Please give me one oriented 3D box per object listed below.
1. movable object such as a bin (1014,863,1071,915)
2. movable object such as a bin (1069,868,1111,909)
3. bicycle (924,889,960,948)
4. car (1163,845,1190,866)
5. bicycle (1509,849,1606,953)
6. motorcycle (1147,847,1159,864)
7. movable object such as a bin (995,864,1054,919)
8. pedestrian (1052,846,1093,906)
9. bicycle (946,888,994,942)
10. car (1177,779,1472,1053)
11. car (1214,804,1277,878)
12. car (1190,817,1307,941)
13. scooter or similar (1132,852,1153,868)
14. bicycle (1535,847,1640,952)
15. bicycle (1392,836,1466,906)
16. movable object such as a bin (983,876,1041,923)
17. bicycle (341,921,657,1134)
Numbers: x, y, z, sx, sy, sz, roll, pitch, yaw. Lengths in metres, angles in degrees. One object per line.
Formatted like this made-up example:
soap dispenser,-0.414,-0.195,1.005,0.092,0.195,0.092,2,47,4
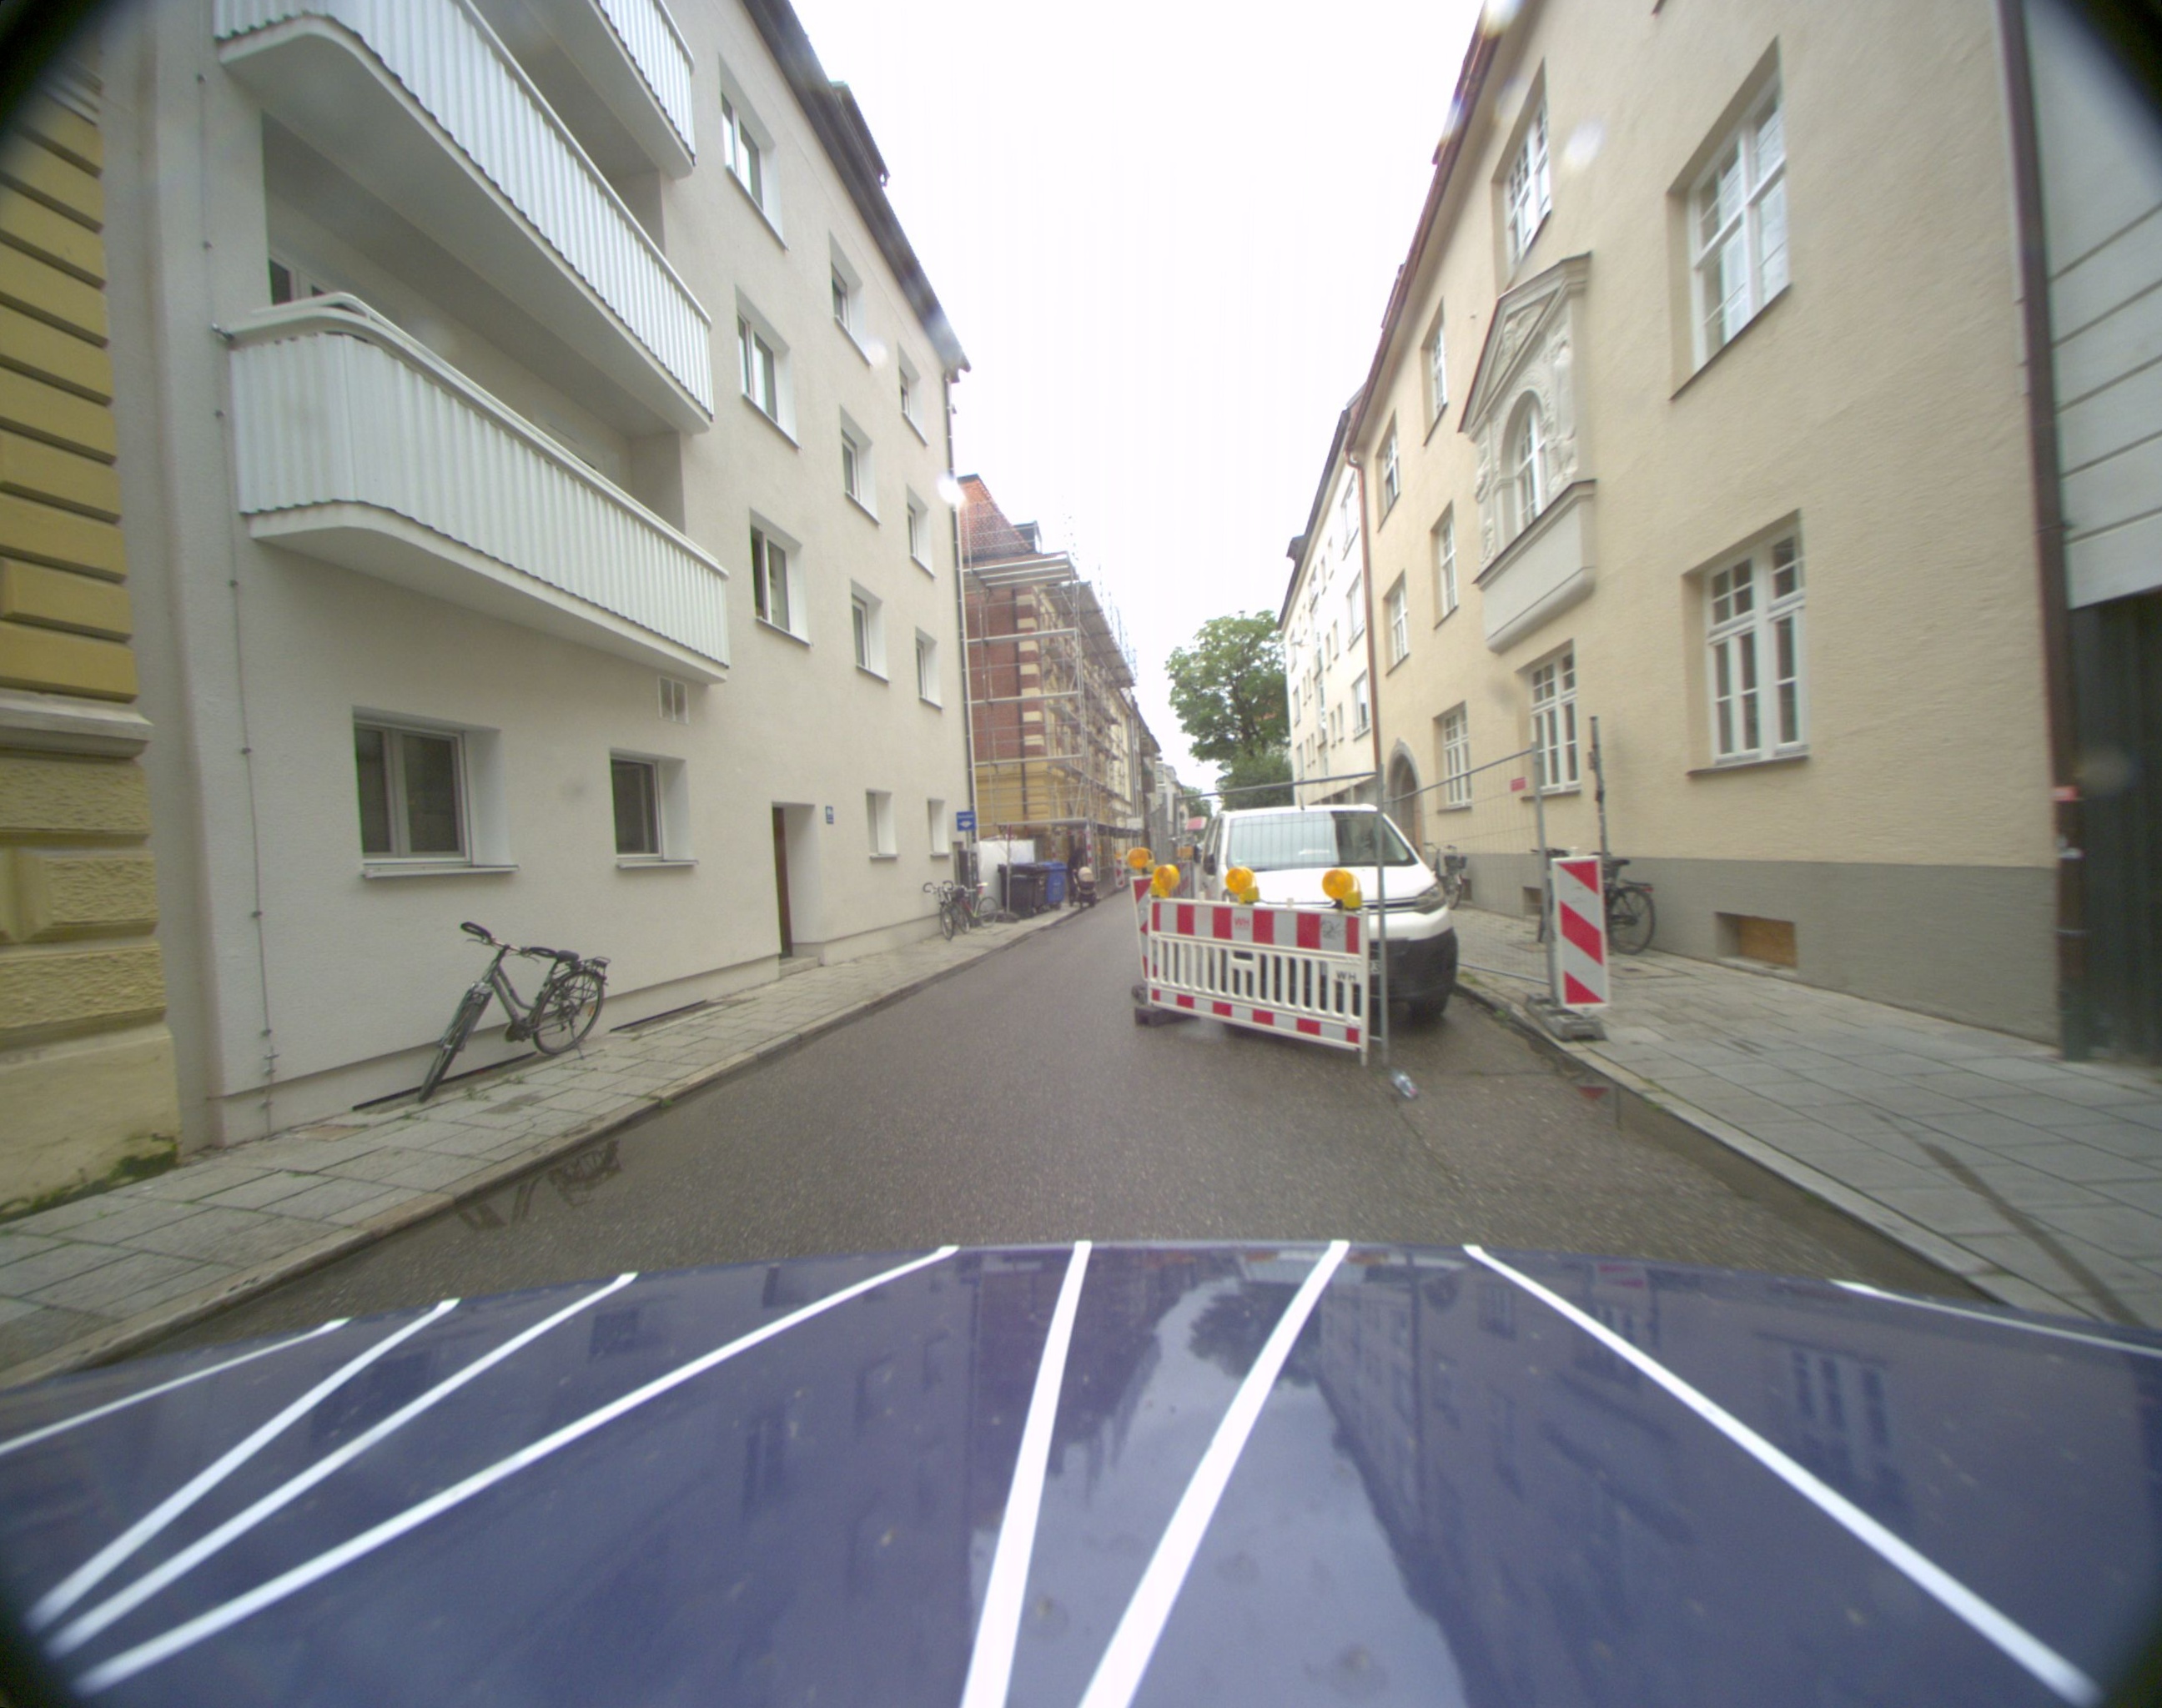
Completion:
movable object such as a bin,-1.047,0.933,20.848,1.087,1.338,1.319,-1,1,22
movable object such as a bin,0.269,0.998,22.200,0.985,1.134,0.733,1,2,44
bicycle,-2.653,1.207,14.562,0.405,0.986,1.329,-1,1,1
car,8.087,0.082,64.121,1.775,1.515,4.069,-6,0,12
bicycle,5.321,0.484,8.558,0.304,1.045,1.391,-6,0,8
motorcycle,6.156,0.086,64.548,0.806,1.415,1.933,1,1,10
movable object such as a bin,-1.447,0.933,19.664,1.127,1.338,1.172,0,1,18
pedestrian,-0.258,0.639,22.796,0.985,1.743,0.733,1,2,44
bicycle,-2.291,1.252,15.863,0.281,0.986,1.435,0,1,23
car,2.077,0.433,8.076,1.908,1.886,5.090,-4,1,6
car,6.495,-0.515,30.714,1.997,2.564,6.740,-3,0,9
car,3.058,0.348,14.575,1.730,1.886,5.512,-2,1,10
scooter or similar,4.496,0.436,55.368,1.611,1.177,0.494,-2,1,-40
bicycle,5.632,0.465,8.517,0.304,1.045,1.455,-6,0,8
bicycle,6.441,0.302,14.193,0.382,1.181,2.136,-5,-1,2
movable object such as a bin,-1.698,1.096,18.742,1.212,1.089,0.790,0,1,18
bicycle,-4.166,1.160,5.682,0.639,1.146,1.916,-1,0,10
